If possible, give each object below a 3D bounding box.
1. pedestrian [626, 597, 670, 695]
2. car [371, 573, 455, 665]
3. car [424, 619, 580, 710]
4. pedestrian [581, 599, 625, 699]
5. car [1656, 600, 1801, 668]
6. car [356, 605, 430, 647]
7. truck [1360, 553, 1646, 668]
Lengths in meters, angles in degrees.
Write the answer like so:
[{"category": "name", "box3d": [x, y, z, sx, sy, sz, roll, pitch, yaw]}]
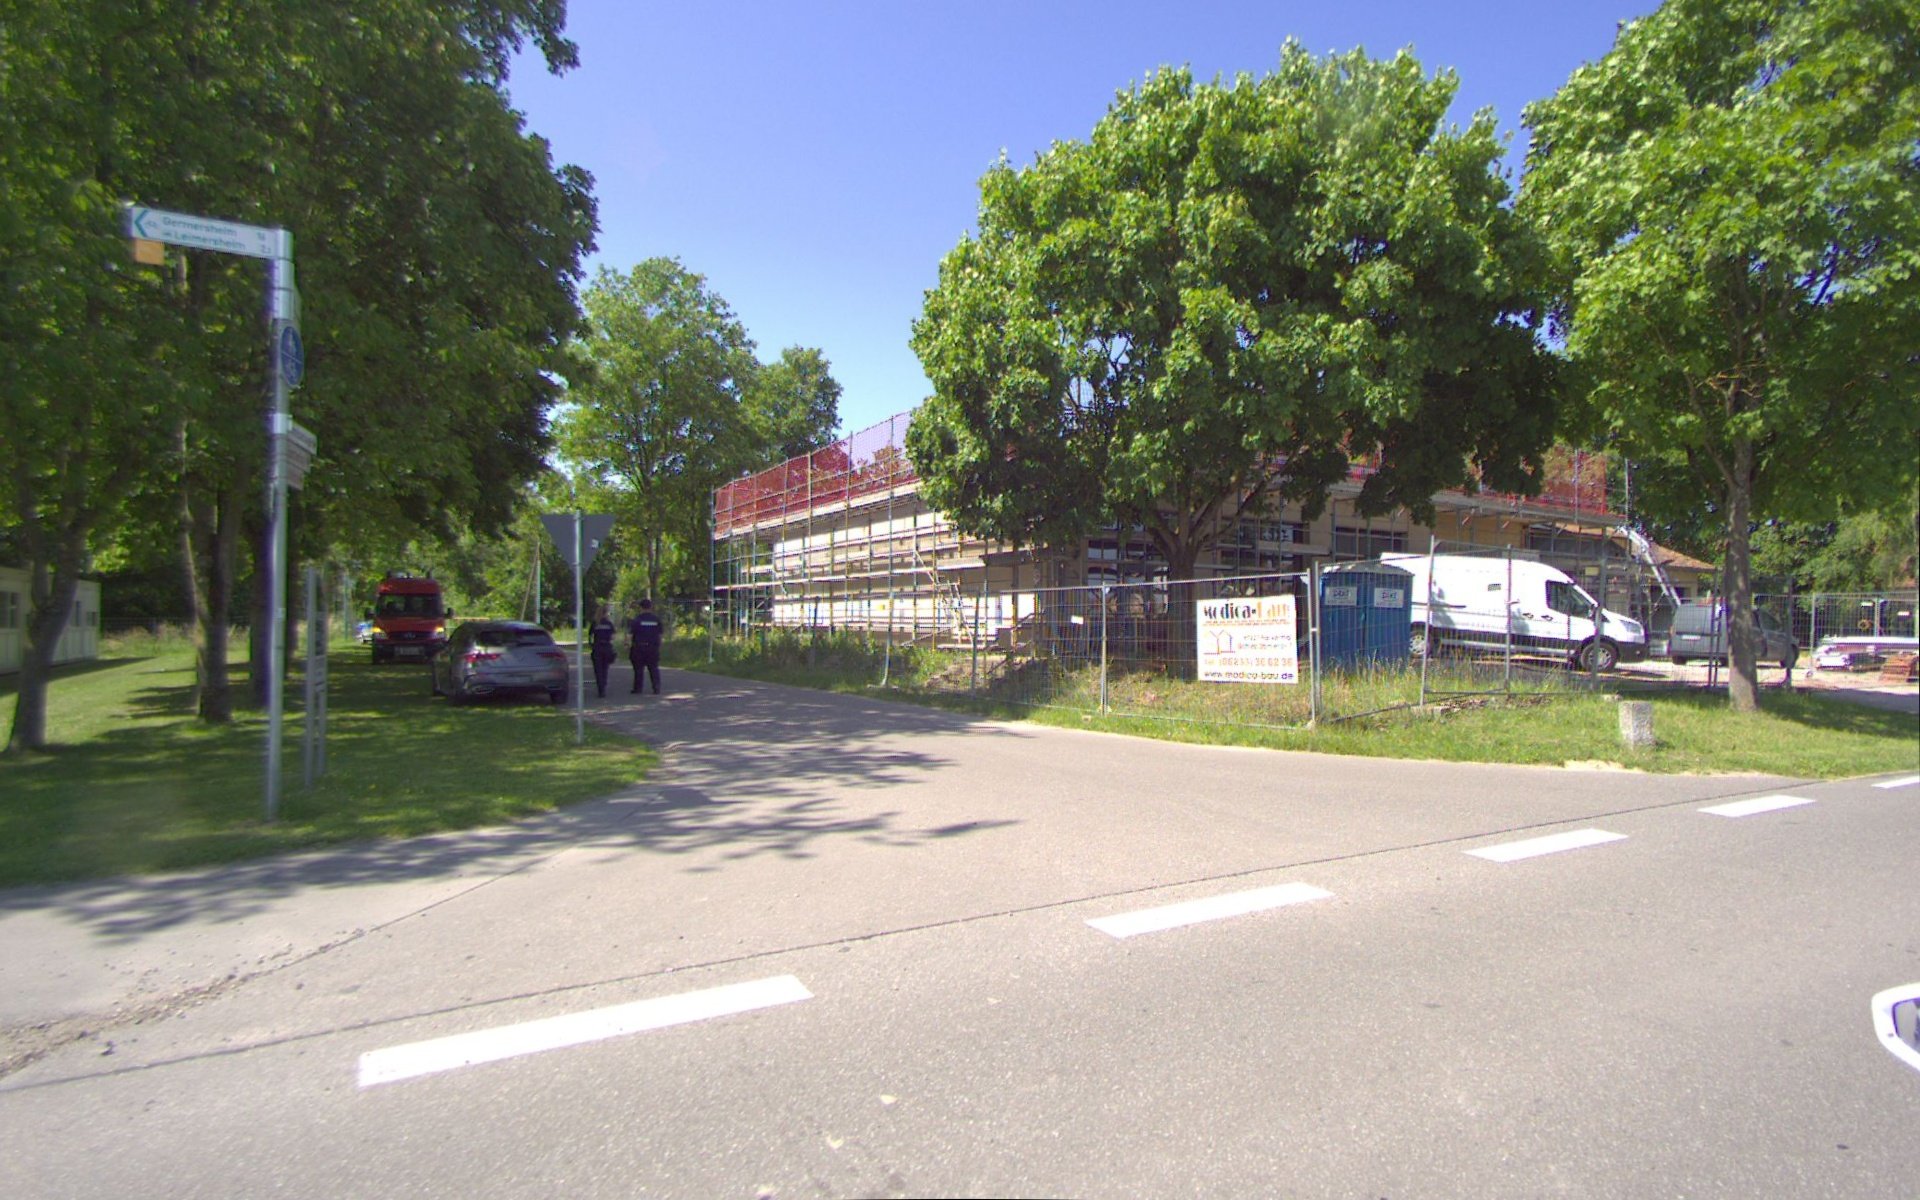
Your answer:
[{"category": "pedestrian", "box3d": [-5.730, 0.837, 18.464, 0.582, 1.774, 0.598, 1, -2, -39]}, {"category": "car", "box3d": [-17.243, 0.626, 31.533, 2.097, 2.611, 6.030, 1, -2, -30]}, {"category": "car", "box3d": [-8.125, 1.056, 17.644, 1.743, 1.417, 3.773, 1, -2, -37]}, {"category": "pedestrian", "box3d": [-6.482, 0.882, 18.244, 0.582, 1.774, 0.598, 1, -2, -39]}, {"category": "car", "box3d": [22.568, 0.968, 29.469, 4.278, 1.862, 1.961, 1, -1, -31]}, {"category": "car", "box3d": [-24.908, 1.155, 44.071, 3.695, 1.773, 1.658, -1, -2, 41]}, {"category": "truck", "box3d": [12.760, 0.232, 24.107, 5.818, 2.516, 1.999, 1, -1, 24]}]
